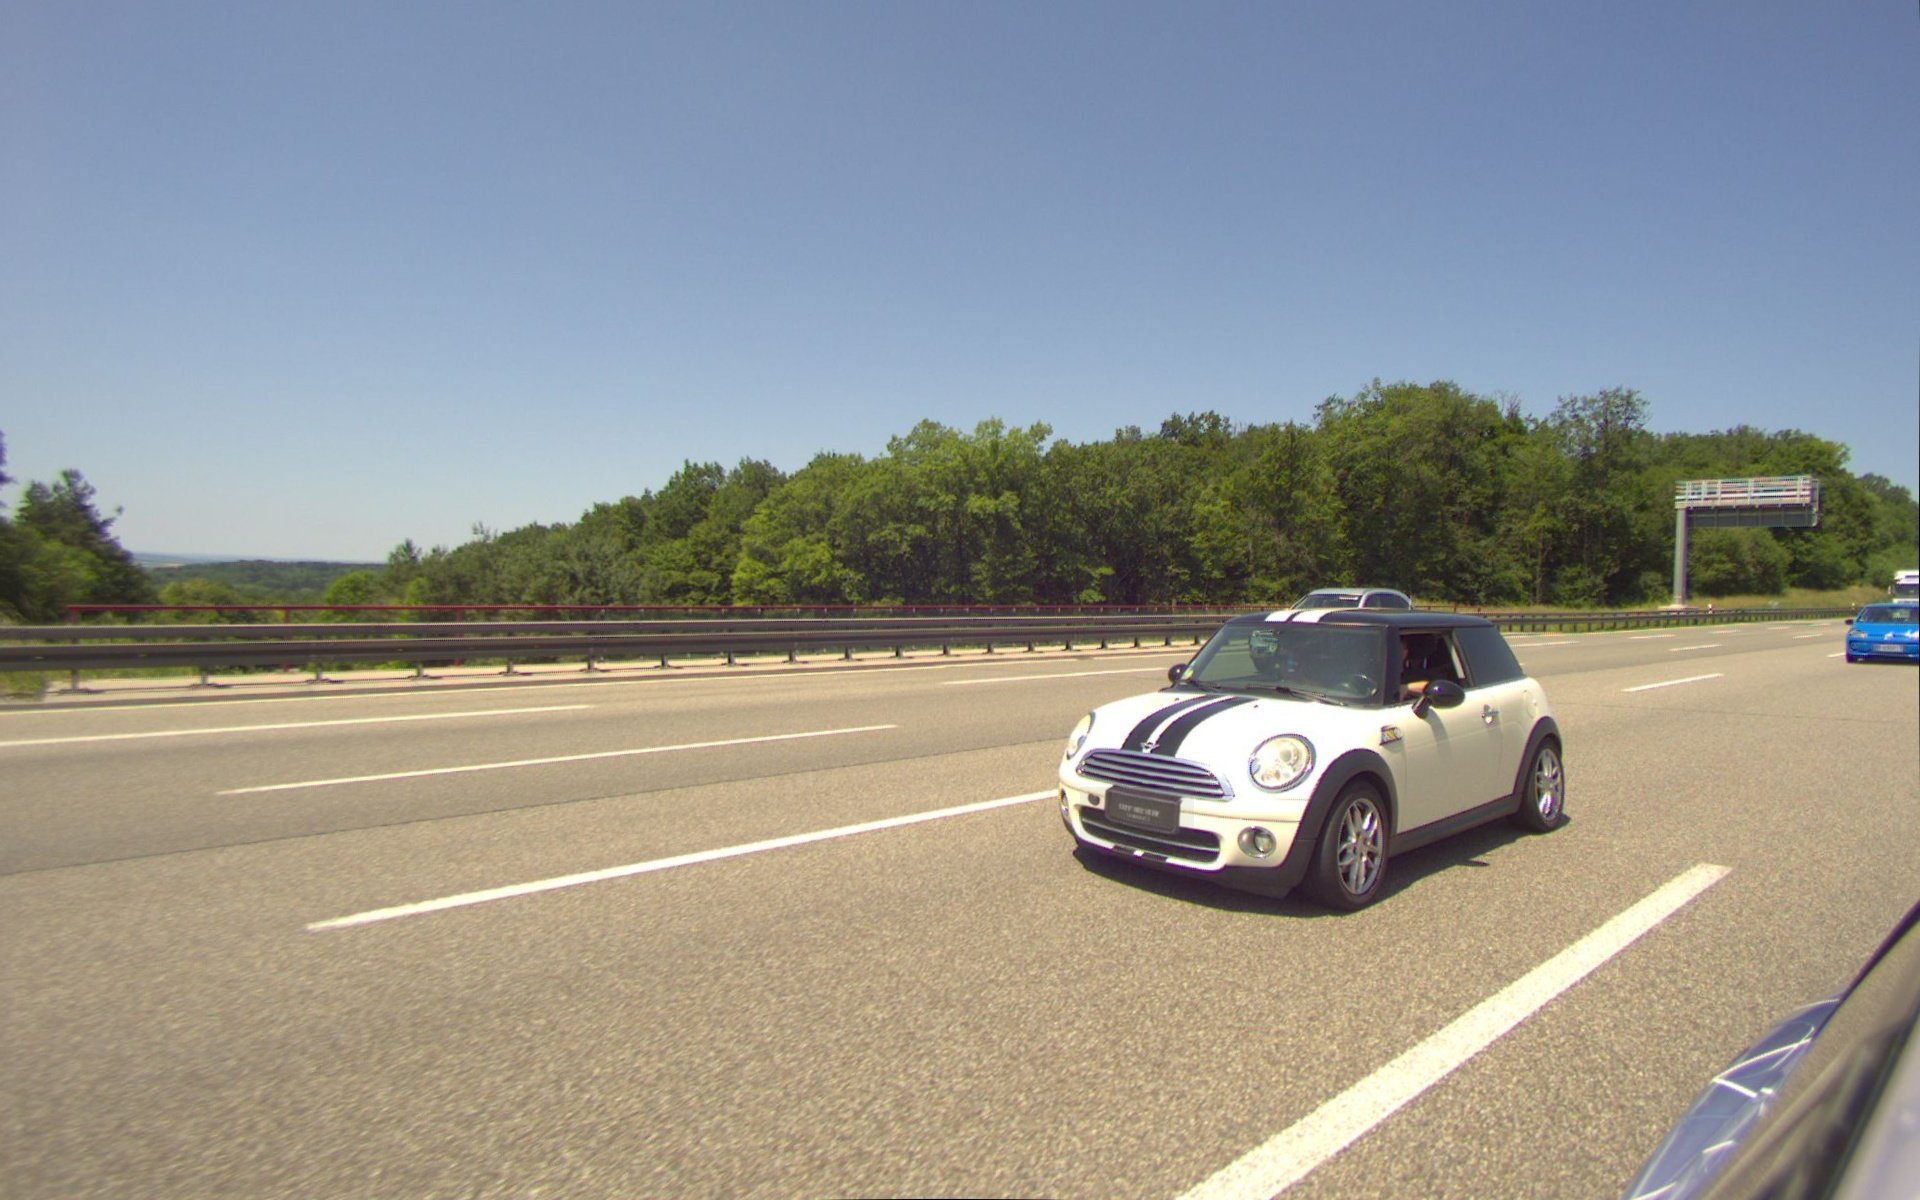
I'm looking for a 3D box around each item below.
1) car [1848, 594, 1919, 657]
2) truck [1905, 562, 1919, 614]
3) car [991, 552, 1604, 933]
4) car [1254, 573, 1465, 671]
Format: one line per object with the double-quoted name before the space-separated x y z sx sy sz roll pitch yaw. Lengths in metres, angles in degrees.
"car" 23.237 0.592 24.728 3.929 1.429 1.741 0 1 -40
"truck" 82.635 -0.936 85.565 10.774 4.214 2.727 1 -1 -40
"car" 2.256 0.609 6.193 3.930 1.571 1.844 1 0 -42
"car" 8.210 0.434 20.540 5.146 1.753 1.804 1 -1 -41
